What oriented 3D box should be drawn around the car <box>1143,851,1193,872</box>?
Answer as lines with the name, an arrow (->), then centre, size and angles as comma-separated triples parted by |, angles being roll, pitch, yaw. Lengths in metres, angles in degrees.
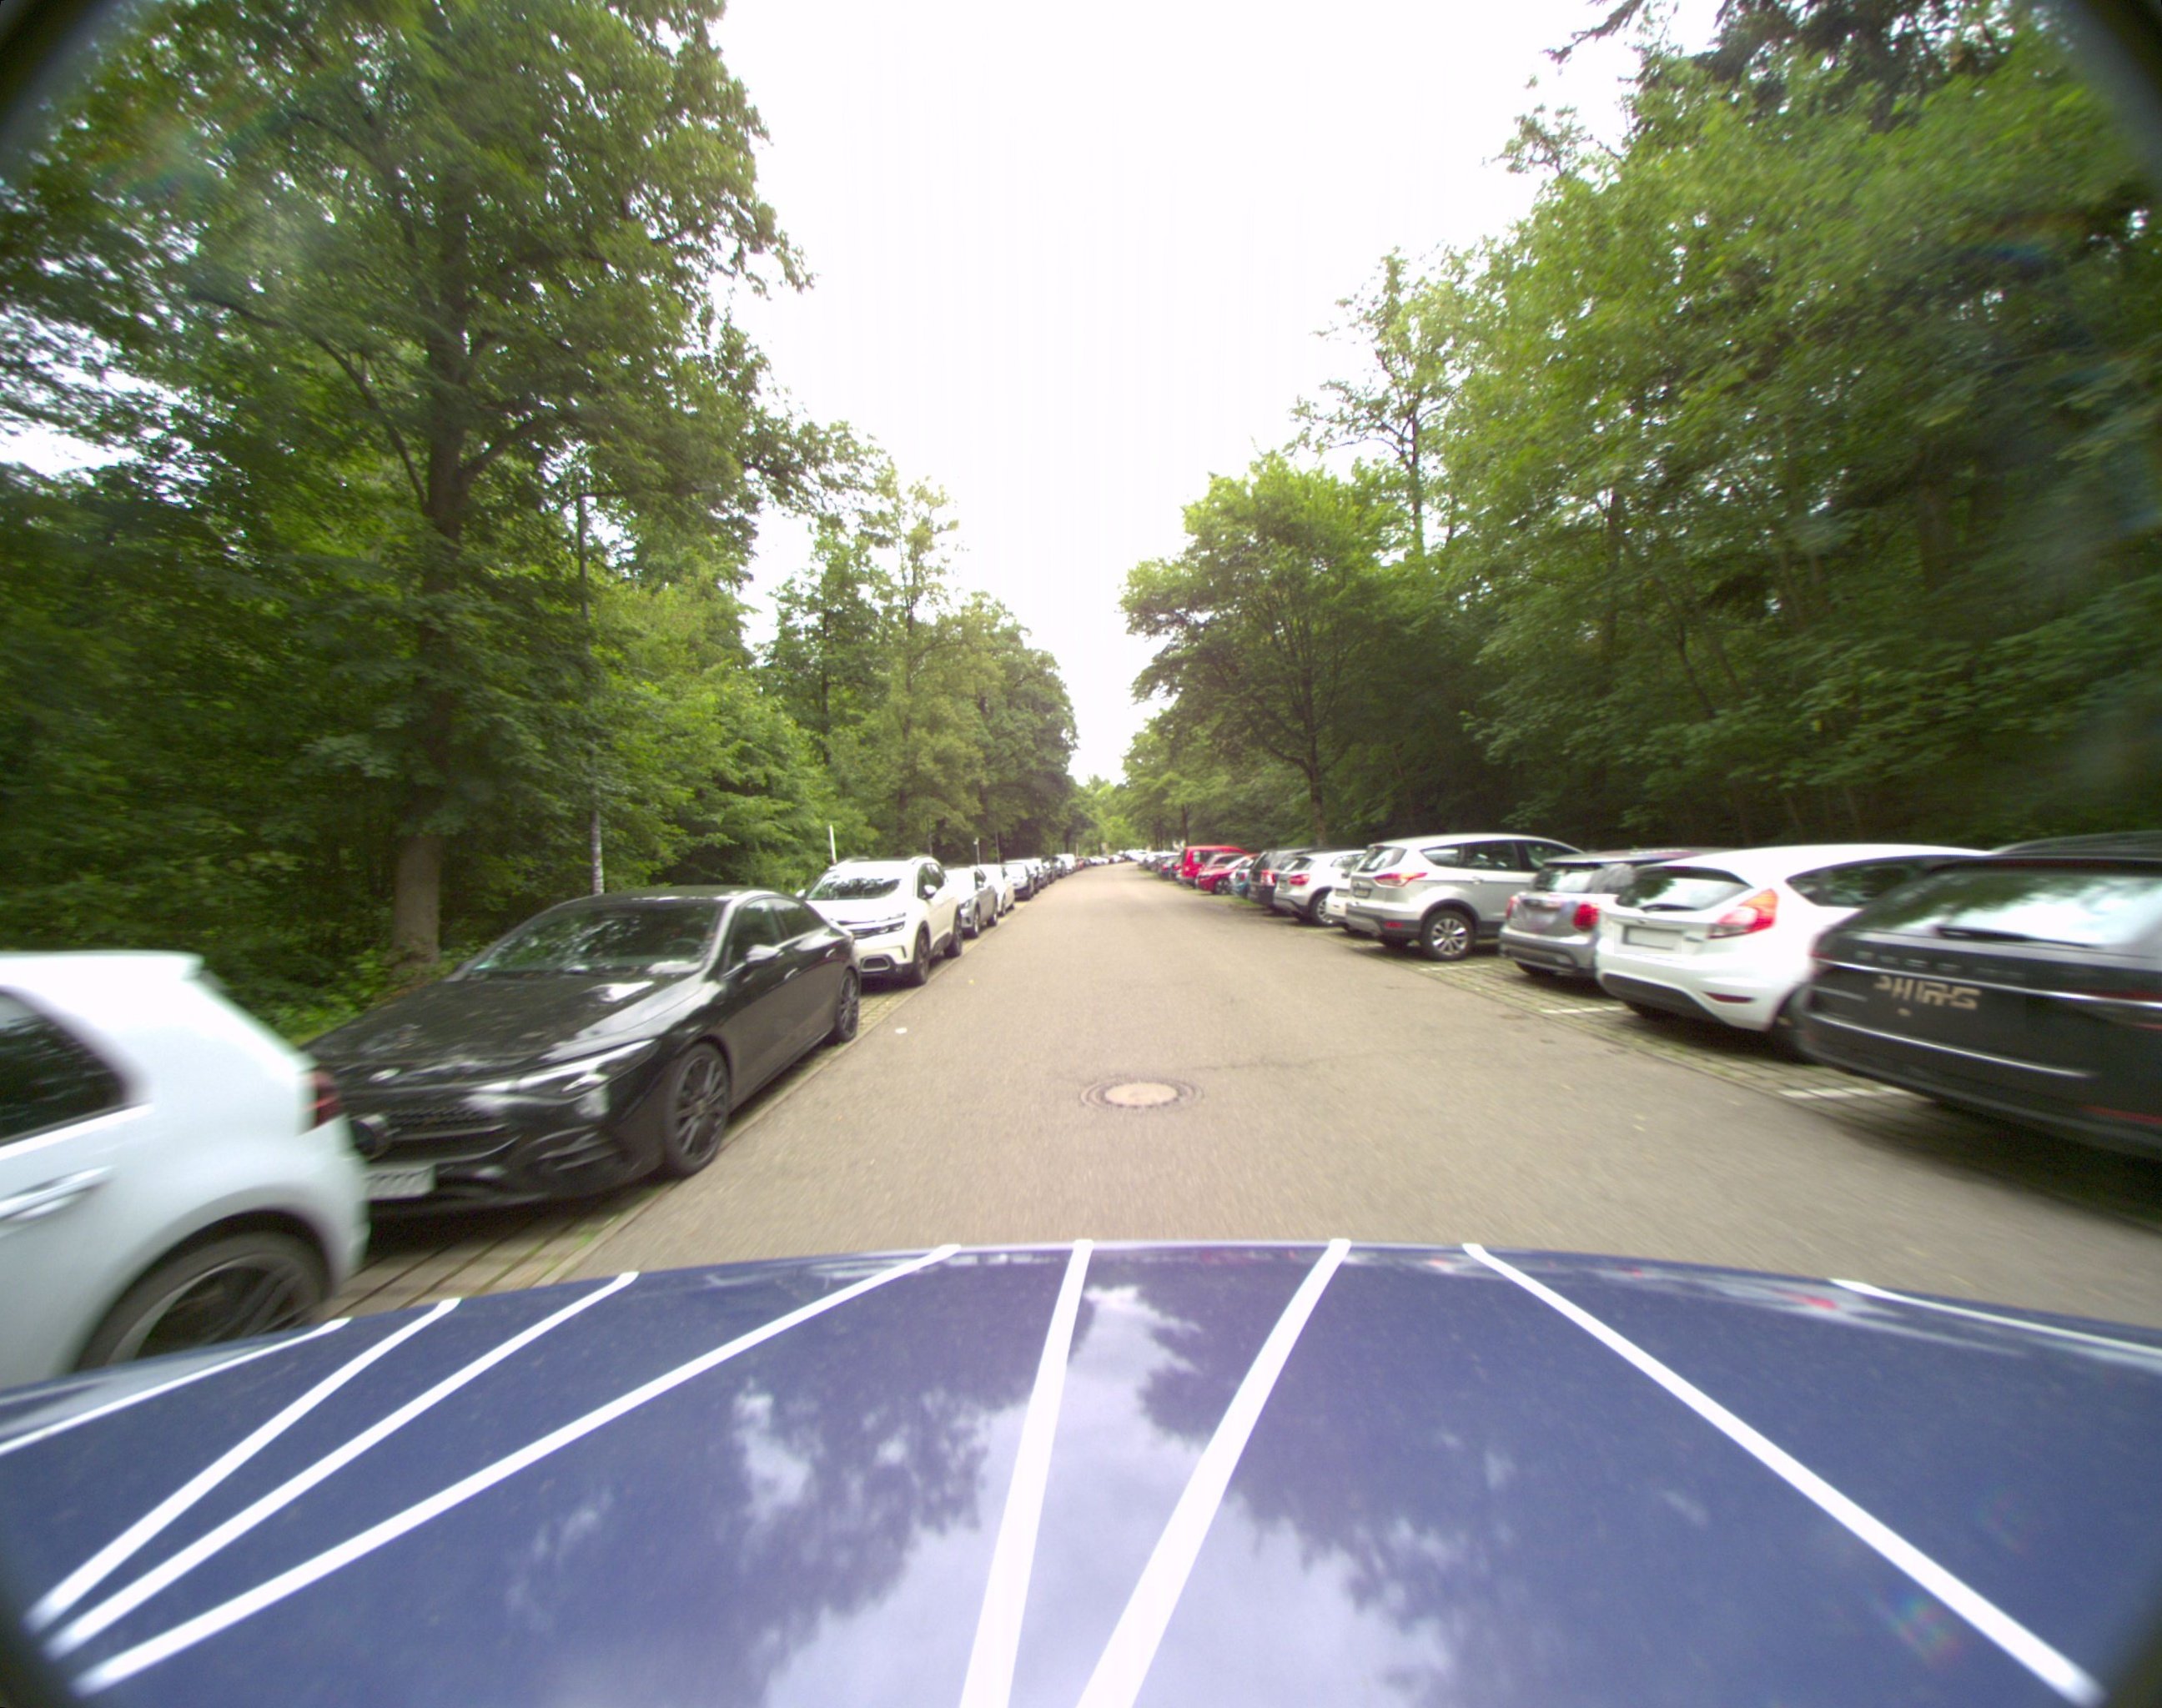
car -> 7.456, 0.656, 65.515 | 3.998, 1.717, 1.713 | -1, 0, -2

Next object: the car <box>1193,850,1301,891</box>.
car -> 6.692, 0.646, 30.954 | 3.997, 1.507, 1.818 | -2, 0, 1

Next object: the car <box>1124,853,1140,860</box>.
car -> 9.494, 0.465, 141.386 | 1.769, 1.308, 3.896 | -2, 0, 25

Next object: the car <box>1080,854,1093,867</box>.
car -> 0.724, 0.836, 99.861 | 1.502, 1.470, 3.666 | -3, 0, 4

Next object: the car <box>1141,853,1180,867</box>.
car -> 8.721, 0.654, 83.199 | 3.998, 1.469, 1.713 | -1, 0, -2

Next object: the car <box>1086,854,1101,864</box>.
car -> 1.808, 0.675, 110.087 | 1.501, 1.331, 3.435 | -3, 0, 11

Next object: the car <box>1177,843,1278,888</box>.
car -> 6.272, 0.485, 32.941 | 3.997, 1.804, 1.818 | -2, 0, 0

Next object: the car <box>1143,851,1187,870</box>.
car -> 8.039, 0.594, 73.145 | 3.998, 1.699, 1.713 | -1, 0, -2

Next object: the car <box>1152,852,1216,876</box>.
car -> 7.127, 0.681, 53.016 | 4.221, 1.528, 1.818 | -2, 0, 1

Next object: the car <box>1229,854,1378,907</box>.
car -> 6.575, 0.776, 22.765 | 3.996, 1.440, 1.696 | -1, 0, 3

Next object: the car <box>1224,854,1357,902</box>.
car -> 6.993, 0.800, 25.659 | 3.997, 1.440, 1.771 | -2, 0, 1

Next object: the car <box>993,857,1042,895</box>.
car -> -2.855, 0.956, 34.911 | 1.843, 1.551, 4.423 | -3, 0, -1

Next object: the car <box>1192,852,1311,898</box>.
car -> 6.222, 0.743, 28.058 | 3.997, 1.507, 1.771 | -2, 0, 1

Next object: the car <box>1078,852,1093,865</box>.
car -> 0.560, 0.587, 94.499 | 1.502, 1.470, 3.666 | -3, 0, 4

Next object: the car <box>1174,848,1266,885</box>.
car -> 6.465, 0.584, 35.610 | 3.996, 1.588, 1.742 | -2, 0, 3

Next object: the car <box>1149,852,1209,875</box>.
car -> 7.150, 0.676, 55.449 | 3.998, 1.508, 1.713 | -3, 1, -4

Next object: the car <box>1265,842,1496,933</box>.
car -> 5.998, 0.647, 15.569 | 3.996, 1.652, 1.814 | -1, 0, 1

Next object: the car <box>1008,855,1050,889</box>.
car -> -2.684, 0.913, 40.383 | 1.907, 1.577, 4.480 | -3, 0, -1

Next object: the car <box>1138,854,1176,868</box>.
car -> 8.541, 0.753, 85.480 | 3.998, 1.469, 1.713 | -1, 0, -2

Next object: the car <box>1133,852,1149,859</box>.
car -> 11.569, 0.312, 145.921 | 1.769, 1.308, 3.896 | -2, 0, 25

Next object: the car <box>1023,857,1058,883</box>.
car -> -2.447, 0.969, 46.265 | 1.824, 1.433, 4.000 | -2, 0, 1

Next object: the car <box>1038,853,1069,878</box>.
car -> -2.028, 0.798, 57.013 | 1.909, 1.713, 4.486 | -3, 0, 3

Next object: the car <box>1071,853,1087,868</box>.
car -> -0.216, 0.717, 85.496 | 1.502, 1.470, 3.666 | -3, 0, 3

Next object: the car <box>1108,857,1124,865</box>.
car -> 6.088, 1.152, 130.722 | 1.770, 1.308, 3.894 | -3, 0, 16

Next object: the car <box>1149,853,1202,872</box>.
car -> 7.817, 0.699, 62.926 | 3.998, 1.363, 1.713 | -3, 0, -4

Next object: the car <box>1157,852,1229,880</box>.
car -> 6.659, 0.716, 45.452 | 3.997, 1.433, 1.741 | -3, 1, -2

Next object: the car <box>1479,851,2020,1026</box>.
car -> 6.629, 0.779, 7.890 | 3.997, 1.413, 1.814 | -3, 0, -1

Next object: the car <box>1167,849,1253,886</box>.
car -> 6.390, 0.675, 37.872 | 3.996, 1.587, 1.742 | -3, 0, 3

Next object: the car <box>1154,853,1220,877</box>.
car -> 7.013, 0.732, 50.462 | 4.220, 1.447, 1.818 | -2, 0, 5

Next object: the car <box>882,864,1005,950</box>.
car -> -2.856, 1.042, 16.856 | 1.740, 1.471, 4.769 | -3, 0, 1

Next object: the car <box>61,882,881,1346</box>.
car -> -2.861, 1.052, 5.118 | 1.740, 1.465, 4.605 | -3, 0, 0

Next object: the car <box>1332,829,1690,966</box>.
car -> 5.867, 0.560, 10.728 | 3.997, 1.652, 1.814 | -2, 0, -1

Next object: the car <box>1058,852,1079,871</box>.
car -> -1.200, 0.673, 74.827 | 1.642, 1.742, 4.055 | -3, 0, 3

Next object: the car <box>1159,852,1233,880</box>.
car -> 6.488, 0.660, 43.121 | 3.996, 1.413, 1.742 | -2, 0, 3

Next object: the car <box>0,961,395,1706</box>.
car -> -3.090, 1.102, 0.410 | 1.741, 1.416, 4.153 | -3, 0, -3

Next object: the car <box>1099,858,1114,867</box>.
car -> 4.065, 1.367, 122.110 | 1.771, 1.308, 3.893 | -3, 0, 11

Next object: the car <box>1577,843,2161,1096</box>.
car -> 6.199, 0.730, 5.574 | 3.996, 1.427, 1.648 | -2, 2, 3

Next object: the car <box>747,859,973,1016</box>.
car -> -2.829, 0.950, 11.043 | 1.740, 1.634, 5.071 | -3, 0, 0

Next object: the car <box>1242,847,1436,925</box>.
car -> 6.022, 0.722, 18.038 | 3.997, 1.652, 1.696 | -1, 0, -1

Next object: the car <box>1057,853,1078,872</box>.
car -> -1.160, 0.755, 68.470 | 1.580, 1.610, 3.963 | -3, 0, 3

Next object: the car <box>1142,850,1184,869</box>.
car -> 8.382, 0.560, 78.064 | 3.998, 1.661, 1.713 | -3, 0, -2

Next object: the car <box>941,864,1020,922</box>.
car -> -2.873, 1.074, 22.568 | 1.741, 1.398, 4.427 | -3, 0, -1

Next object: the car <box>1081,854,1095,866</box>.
car -> 0.927, 0.781, 104.655 | 1.501, 1.470, 3.667 | -3, 0, 6

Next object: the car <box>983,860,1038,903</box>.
car -> -2.674, 1.029, 29.852 | 1.741, 1.426, 4.744 | -3, 0, -1

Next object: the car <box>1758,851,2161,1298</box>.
car -> 5.673, 0.699, 3.216 | 3.996, 1.427, 1.677 | -3, 0, 3
